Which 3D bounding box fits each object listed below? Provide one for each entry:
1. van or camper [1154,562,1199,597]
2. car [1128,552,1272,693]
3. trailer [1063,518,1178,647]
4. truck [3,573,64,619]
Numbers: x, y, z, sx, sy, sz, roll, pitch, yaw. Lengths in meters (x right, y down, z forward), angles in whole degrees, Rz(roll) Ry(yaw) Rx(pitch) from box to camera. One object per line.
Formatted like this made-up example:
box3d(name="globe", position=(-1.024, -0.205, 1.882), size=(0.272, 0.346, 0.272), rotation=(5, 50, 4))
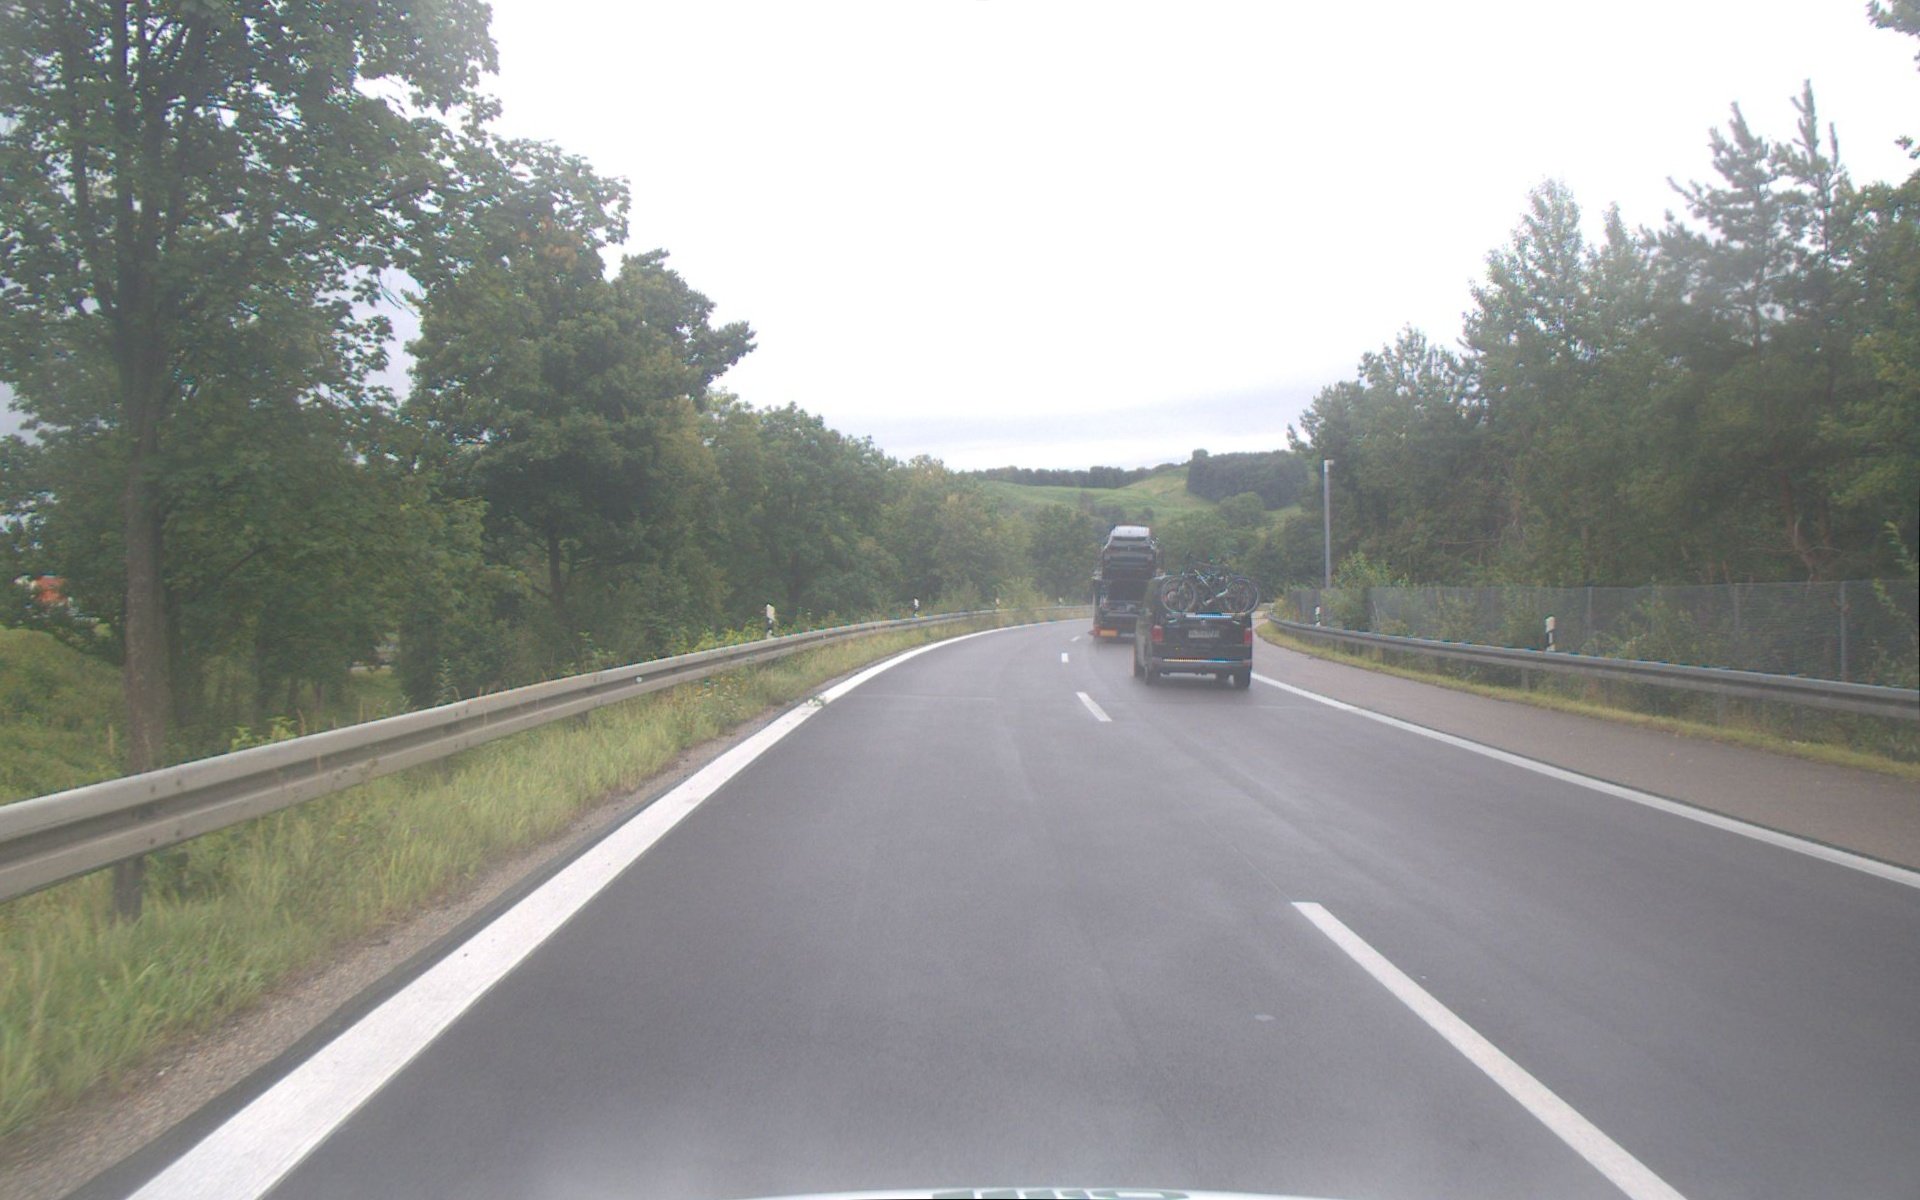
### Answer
box3d(name="van or camper", position=(14.355, -1.336, 109.680), size=(2.049, 2.270, 4.432), rotation=(1, 0, 19))
box3d(name="car", position=(4.291, 0.342, 30.475), size=(2.066, 2.304, 5.899), rotation=(1, 1, 3))
box3d(name="trailer", position=(5.553, -0.609, 59.358), size=(3.377, 4.069, 12.031), rotation=(2, 0, 3))
box3d(name="truck", position=(-93.610, -0.470, 167.287), size=(3.677, 4.494, 10.138), rotation=(0, 0, -19))
